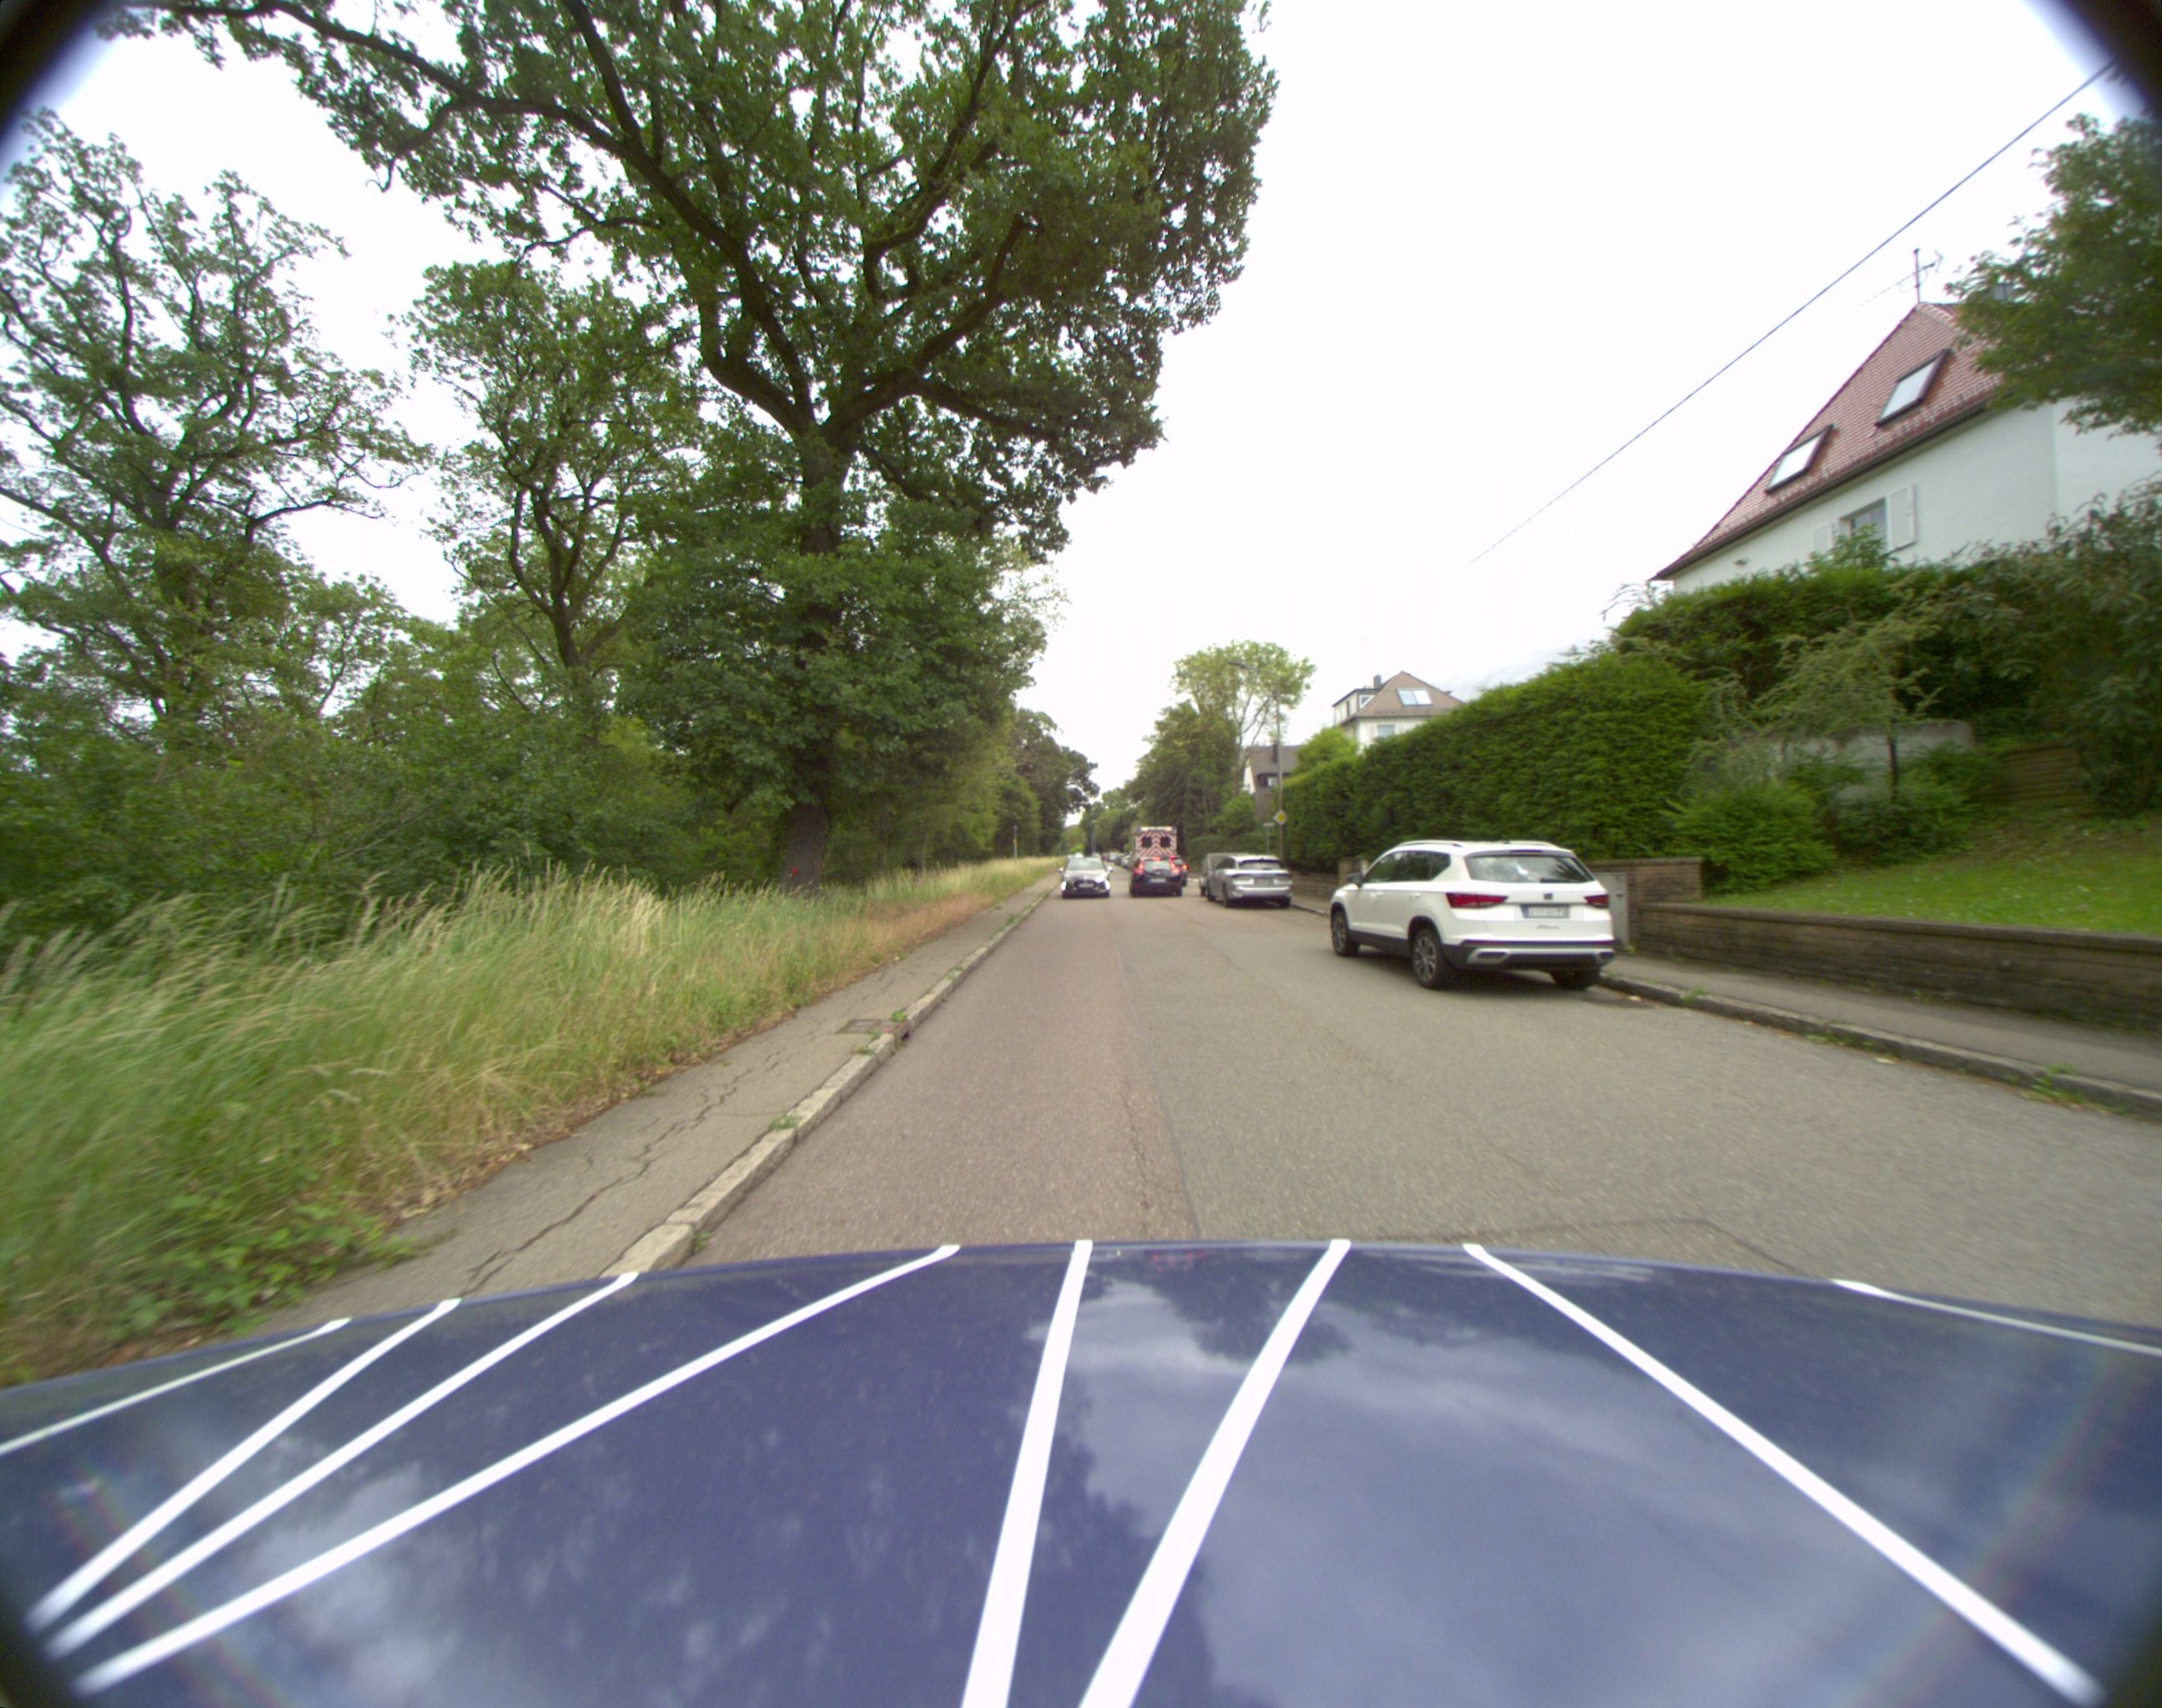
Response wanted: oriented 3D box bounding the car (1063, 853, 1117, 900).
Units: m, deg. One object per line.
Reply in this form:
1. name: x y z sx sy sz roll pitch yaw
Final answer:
1. car: 0.279 0.764 28.043 1.788 1.491 4.014 -3 0 -1

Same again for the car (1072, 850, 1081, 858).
1. car: -1.095 0.016 174.882 1.998 1.678 4.710 -2 0 0

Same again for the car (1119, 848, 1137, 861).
1. car: 5.476 0.021 89.400 1.739 1.431 4.261 -1 1 -2

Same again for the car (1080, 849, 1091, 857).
1. car: 0.951 -0.192 154.914 1.999 1.678 4.709 -2 0 -2

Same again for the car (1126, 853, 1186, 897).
1. car: 2.648 0.705 27.858 1.768 1.438 4.473 -1 0 0

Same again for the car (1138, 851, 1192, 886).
1. car: 3.809 0.622 35.194 1.768 1.438 4.472 -1 0 -3

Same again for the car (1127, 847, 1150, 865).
1. car: 4.964 0.164 65.728 1.724 1.496 4.007 0 1 1

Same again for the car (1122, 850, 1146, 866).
1. car: 5.282 0.373 76.490 1.921 1.553 4.602 0 0 -2

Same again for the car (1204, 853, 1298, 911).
1. car: 4.809 0.728 22.118 1.768 1.490 4.473 0 0 0

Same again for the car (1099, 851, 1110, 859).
1. car: 4.505 0.248 143.615 1.741 1.431 3.786 -2 0 -2

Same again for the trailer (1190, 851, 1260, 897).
1. trailer: 5.096 0.646 27.493 1.768 1.487 4.473 -1 0 1

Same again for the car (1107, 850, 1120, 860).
1. car: 5.322 0.127 123.711 1.788 1.491 4.014 -2 0 -1

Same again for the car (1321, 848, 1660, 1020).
1. car: 4.543 0.745 9.303 1.843 1.639 4.185 0 1 -1

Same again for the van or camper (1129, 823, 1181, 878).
1. van or camper: 4.140 -0.215 43.663 2.462 2.878 7.168 -1 1 2

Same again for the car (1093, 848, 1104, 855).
1. car: 3.787 -0.581 163.833 1.765 1.441 4.041 -3 0 -6
